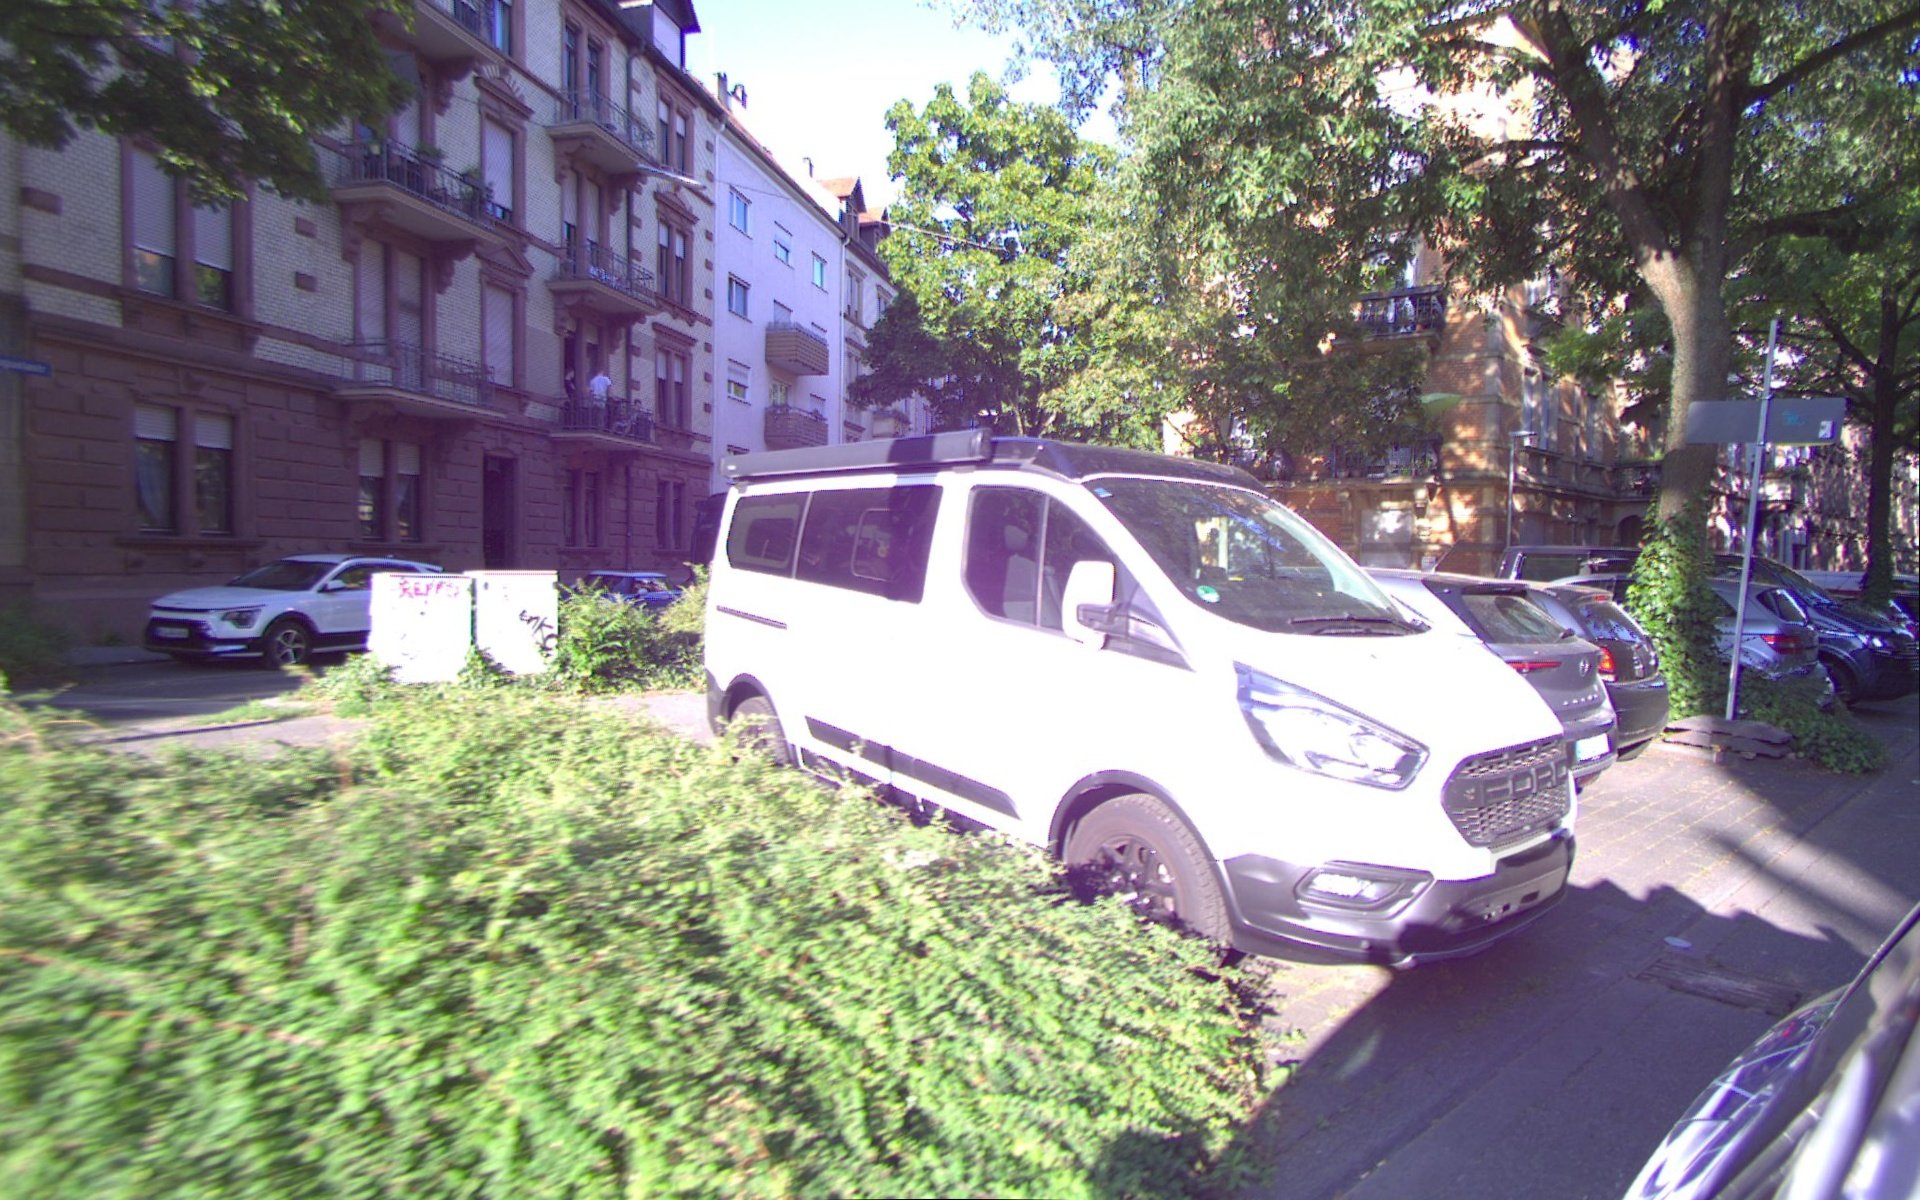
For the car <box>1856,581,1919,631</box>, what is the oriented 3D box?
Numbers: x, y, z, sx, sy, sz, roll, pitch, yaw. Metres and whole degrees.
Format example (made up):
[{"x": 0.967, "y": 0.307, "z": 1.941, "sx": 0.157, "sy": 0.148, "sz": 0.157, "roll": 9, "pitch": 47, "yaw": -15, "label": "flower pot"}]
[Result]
[{"x": 31.304, "y": 0.242, "z": 31.662, "sx": 1.898, "sy": 1.521, "sz": 4.670, "roll": 0, "pitch": 3, "yaw": -40, "label": "car"}]

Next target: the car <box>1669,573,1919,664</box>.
[{"x": 16.868, "y": 0.293, "z": 20.198, "sx": 1.810, "sy": 1.516, "sz": 4.091, "roll": 0, "pitch": 3, "yaw": -39, "label": "car"}]

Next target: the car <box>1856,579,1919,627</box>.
[{"x": 32.812, "y": 0.136, "z": 33.395, "sx": 1.964, "sy": 1.548, "sz": 4.565, "roll": 0, "pitch": 3, "yaw": -38, "label": "car"}]

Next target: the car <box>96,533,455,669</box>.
[{"x": -9.504, "y": -0.064, "z": 14.529, "sx": 1.755, "sy": 1.630, "sz": 4.201, "roll": 2, "pitch": 2, "yaw": 14, "label": "car"}]

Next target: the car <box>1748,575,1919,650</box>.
[{"x": 20.803, "y": 0.259, "z": 23.335, "sx": 3.988, "sy": 1.492, "sz": 1.754, "roll": 5, "pitch": 4, "yaw": 43, "label": "car"}]

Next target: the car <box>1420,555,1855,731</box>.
[{"x": 7.930, "y": 0.350, "z": 12.138, "sx": 1.769, "sy": 1.713, "sz": 3.994, "roll": 0, "pitch": 3, "yaw": -41, "label": "car"}]

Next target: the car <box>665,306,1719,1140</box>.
[{"x": 0.518, "y": 0.212, "z": 5.156, "sx": 2.068, "sy": 2.122, "sz": 4.985, "roll": 0, "pitch": 2, "yaw": -40, "label": "car"}]

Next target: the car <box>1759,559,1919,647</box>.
[{"x": 23.040, "y": 0.038, "z": 24.801, "sx": 2.121, "sy": 1.962, "sz": 5.104, "roll": -5, "pitch": 5, "yaw": -39, "label": "car"}]

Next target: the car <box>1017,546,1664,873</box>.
[{"x": 2.339, "y": 0.456, "z": 7.023, "sx": 1.710, "sy": 1.615, "sz": 3.849, "roll": 0, "pitch": 2, "yaw": -40, "label": "car"}]

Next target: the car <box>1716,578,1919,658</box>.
[{"x": 18.936, "y": 0.339, "z": 21.406, "sx": 1.899, "sy": 1.473, "sz": 4.380, "roll": 0, "pitch": 3, "yaw": -39, "label": "car"}]

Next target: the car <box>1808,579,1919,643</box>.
[{"x": 26.283, "y": 0.308, "z": 28.155, "sx": 1.695, "sy": 1.669, "sz": 3.891, "roll": 0, "pitch": 3, "yaw": -42, "label": "car"}]

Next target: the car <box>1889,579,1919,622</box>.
[{"x": 37.411, "y": 0.075, "z": 37.698, "sx": 1.752, "sy": 1.609, "sz": 3.992, "roll": 0, "pitch": 3, "yaw": -43, "label": "car"}]

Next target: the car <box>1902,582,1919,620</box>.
[{"x": 39.407, "y": 0.097, "z": 39.286, "sx": 1.752, "sy": 1.480, "sz": 3.992, "roll": 0, "pitch": 3, "yaw": -43, "label": "car"}]

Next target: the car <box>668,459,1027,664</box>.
[{"x": -1.963, "y": -0.599, "z": 15.663, "sx": 5.897, "sy": 2.568, "sz": 2.342, "roll": 3, "pitch": 2, "yaw": 44, "label": "car"}]

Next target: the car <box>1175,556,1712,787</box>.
[{"x": 4.022, "y": 0.414, "z": 8.918, "sx": 1.815, "sy": 1.534, "sz": 3.849, "roll": 0, "pitch": 2, "yaw": -40, "label": "car"}]

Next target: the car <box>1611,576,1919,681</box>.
[{"x": 13.722, "y": 0.387, "z": 17.236, "sx": 1.854, "sy": 1.465, "sz": 4.001, "roll": 0, "pitch": 2, "yaw": -35, "label": "car"}]

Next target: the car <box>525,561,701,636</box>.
[{"x": -7.632, "y": -0.107, "z": 22.730, "sx": 1.839, "sy": 1.493, "sz": 4.230, "roll": 1, "pitch": 2, "yaw": 12, "label": "car"}]

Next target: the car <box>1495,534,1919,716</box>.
[{"x": 10.053, "y": 0.184, "z": 13.607, "sx": 1.966, "sy": 2.038, "sz": 4.623, "roll": 0, "pitch": 3, "yaw": -42, "label": "car"}]

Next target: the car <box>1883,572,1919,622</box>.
[{"x": 35.746, "y": 0.004, "z": 35.583, "sx": 1.850, "sy": 1.723, "sz": 4.652, "roll": 0, "pitch": 4, "yaw": -43, "label": "car"}]
